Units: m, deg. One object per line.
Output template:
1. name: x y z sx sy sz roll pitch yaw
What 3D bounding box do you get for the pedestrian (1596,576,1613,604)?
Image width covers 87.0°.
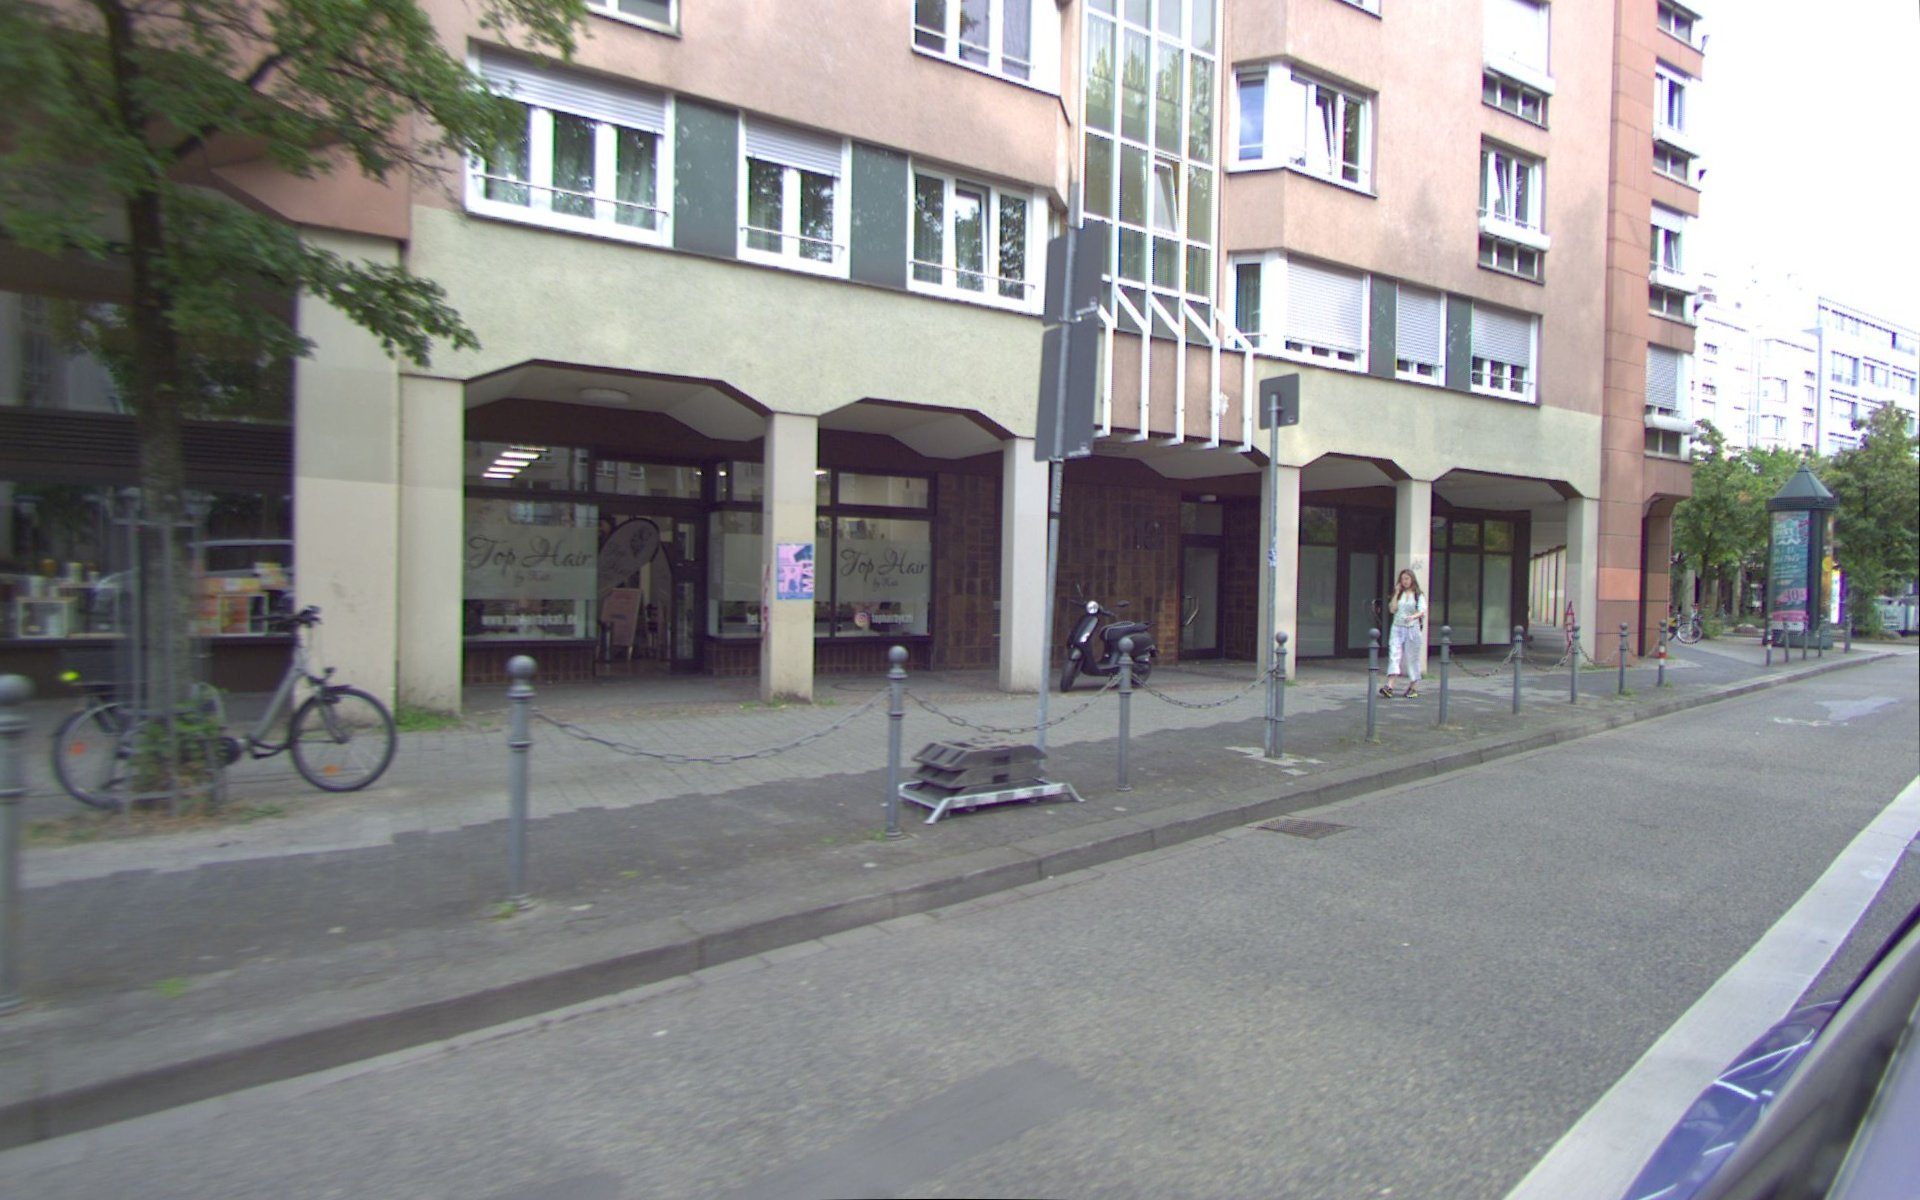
1. pedestrian: 38.133 -0.593 59.887 0.668 1.683 0.608 1 1 -31

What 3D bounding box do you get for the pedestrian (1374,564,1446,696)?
1. pedestrian: 5.906 0.368 13.272 0.810 1.670 0.544 0 1 -40

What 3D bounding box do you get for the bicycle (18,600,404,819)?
1. bicycle: -4.359 0.578 6.049 1.769 1.132 0.614 0 1 -34

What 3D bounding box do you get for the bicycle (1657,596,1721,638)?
1. bicycle: 21.742 0.498 30.232 0.658 1.142 1.665 1 2 0

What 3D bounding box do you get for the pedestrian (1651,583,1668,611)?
1. pedestrian: 42.172 -0.189 61.019 0.834 1.683 0.535 1 1 -29

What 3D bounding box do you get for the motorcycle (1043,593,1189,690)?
1. motorcycle: 2.058 0.531 13.244 1.865 1.170 0.620 1 2 -30
